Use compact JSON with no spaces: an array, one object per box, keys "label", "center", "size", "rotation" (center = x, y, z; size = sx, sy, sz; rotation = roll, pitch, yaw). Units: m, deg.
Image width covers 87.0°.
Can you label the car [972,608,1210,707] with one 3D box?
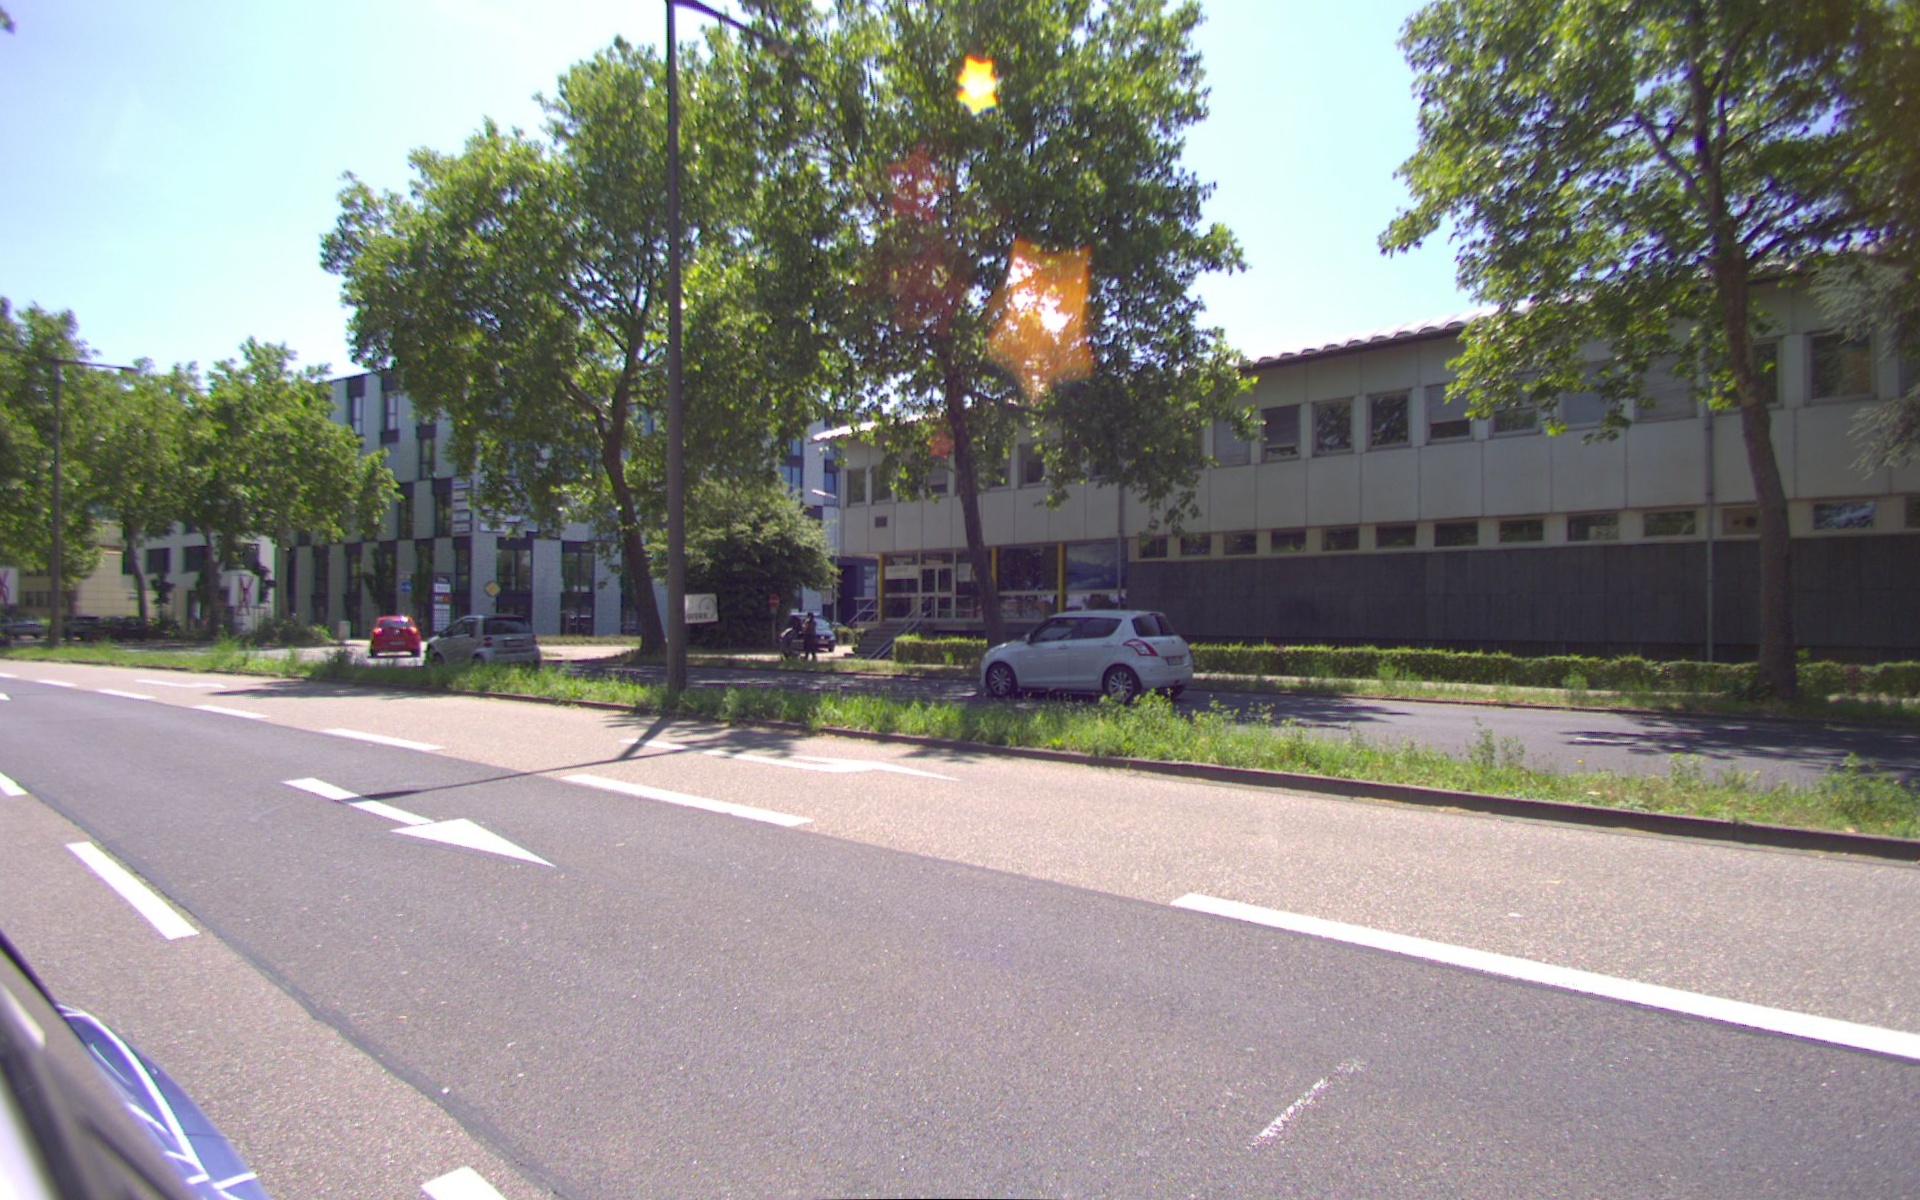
[{"label":"car","center":[2.159,0.915,17.221],"size":[3.671,1.470,1.714],"rotation":[-1,0,41]}]

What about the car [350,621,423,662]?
[{"label":"car","center":[-21.617,1.521,38.085],"size":[1.651,1.472,3.535],"rotation":[1,-2,-42]}]

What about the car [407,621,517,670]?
[{"label":"car","center":[-15.525,1.376,31.483],"size":[3.669,1.454,1.733],"rotation":[-1,-2,40]}]

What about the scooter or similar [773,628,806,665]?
[{"label":"scooter or similar","center":[-5.546,1.495,32.984],"size":[0.858,1.172,0.671],"rotation":[-1,-2,39]}]

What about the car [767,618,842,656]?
[{"label":"car","center":[-7.458,1.733,48.346],"size":[3.528,1.660,1.795],"rotation":[-1,0,44]}]

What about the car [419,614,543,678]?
[{"label":"car","center":[-12.088,1.132,25.552],"size":[2.844,1.540,1.521],"rotation":[-1,-2,31]}]

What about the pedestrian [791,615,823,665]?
[{"label":"pedestrian","center":[-4.908,1.284,32.455],"size":[0.790,1.572,0.635],"rotation":[-1,-2,39]}]
